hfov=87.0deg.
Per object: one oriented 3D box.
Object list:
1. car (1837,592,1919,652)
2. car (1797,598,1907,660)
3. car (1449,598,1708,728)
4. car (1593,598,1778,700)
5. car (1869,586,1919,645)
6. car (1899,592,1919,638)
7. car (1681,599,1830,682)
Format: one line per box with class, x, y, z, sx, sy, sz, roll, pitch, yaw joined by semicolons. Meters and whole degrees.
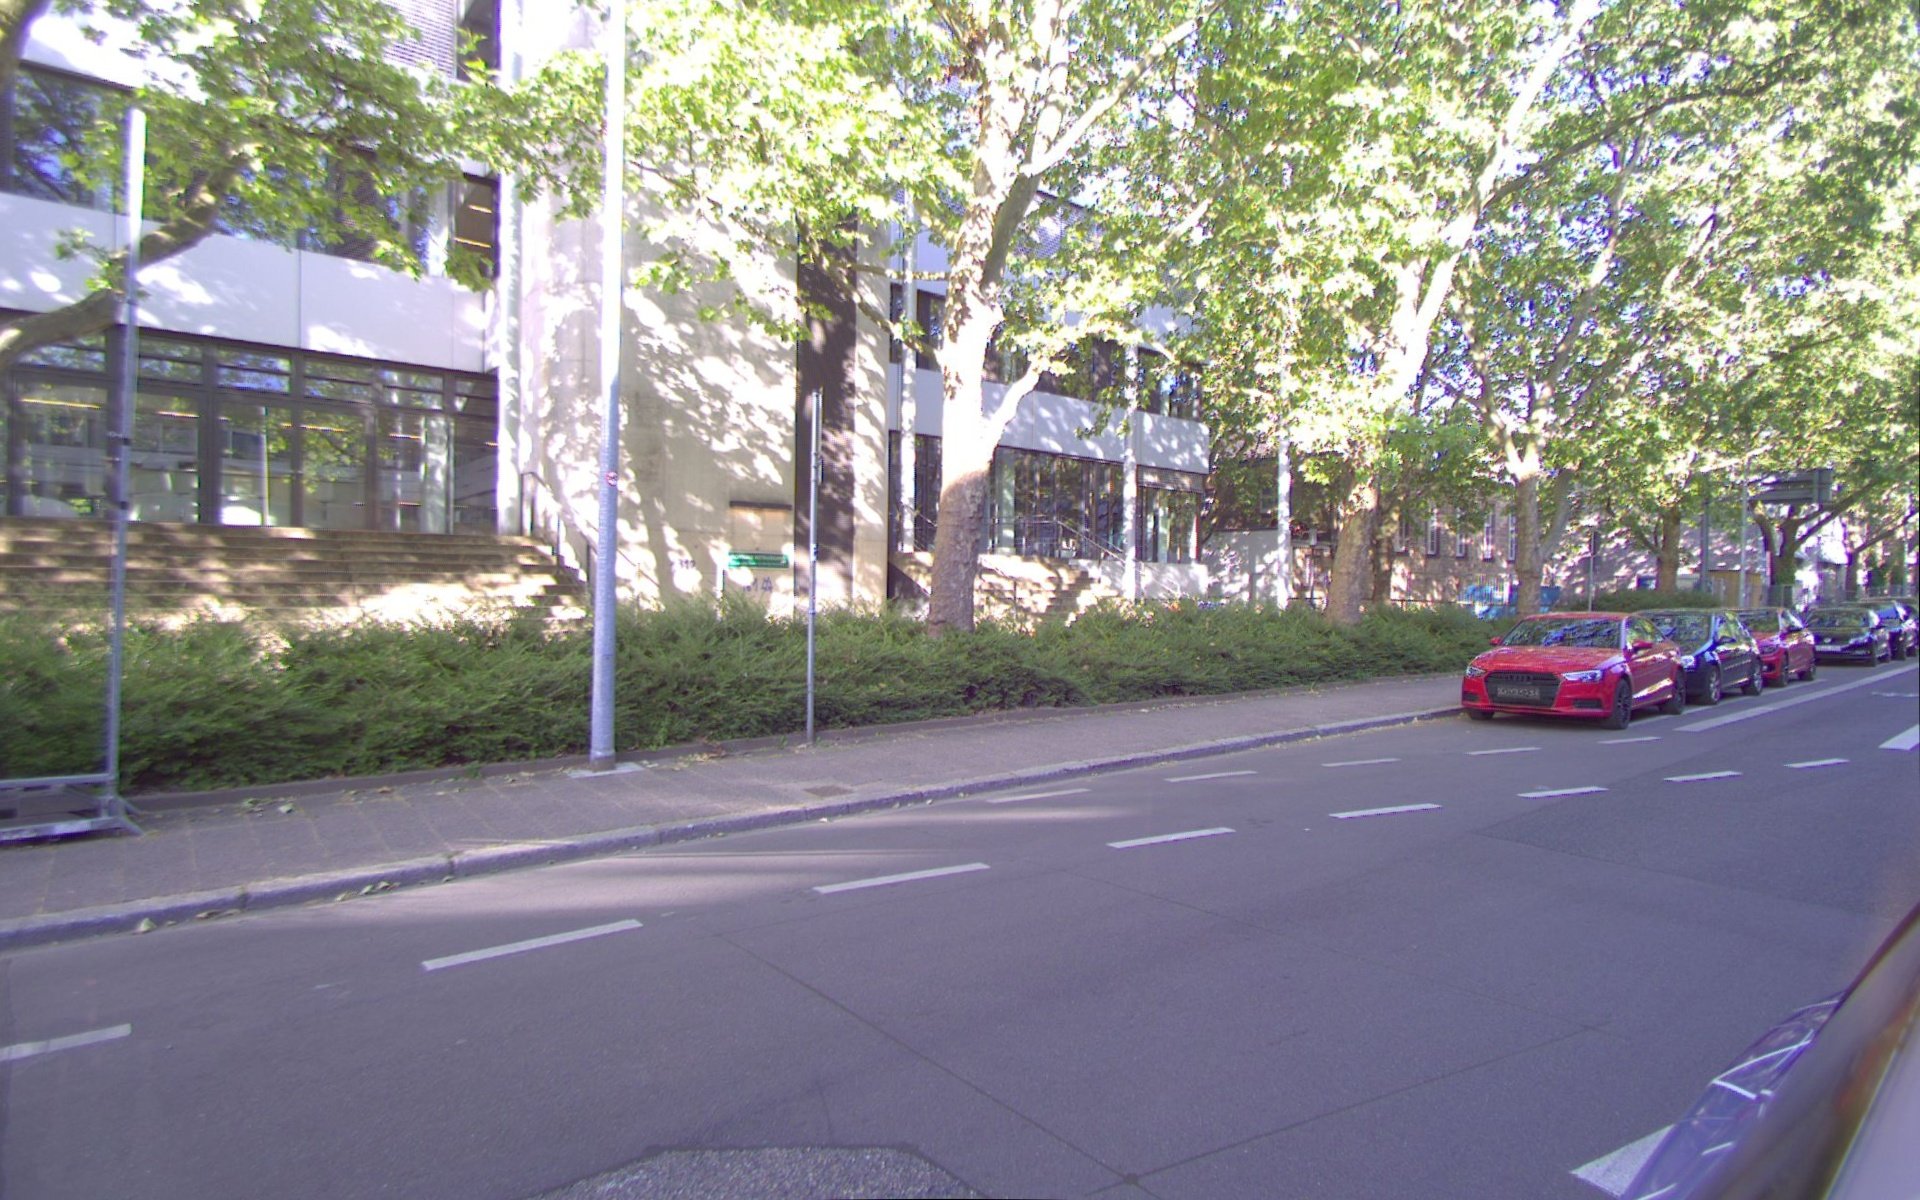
car;26.584;0.584;29.023;3.777;1.607;1.634;0;-1;-41
car;22.902;0.697;25.940;3.674;1.483;1.634;0;-1;-41
car;8.353;0.722;13.534;4.053;1.483;1.802;0;-1;-41
car;11.904;0.718;16.528;3.674;1.483;1.634;0;-1;-41
car;30.989;0.475;32.911;3.777;1.828;1.634;0;-1;-41
car;35.948;0.530;37.232;3.777;1.675;1.634;0;-1;-41
car;15.704;0.724;19.927;3.674;1.483;1.634;0;-1;-41
